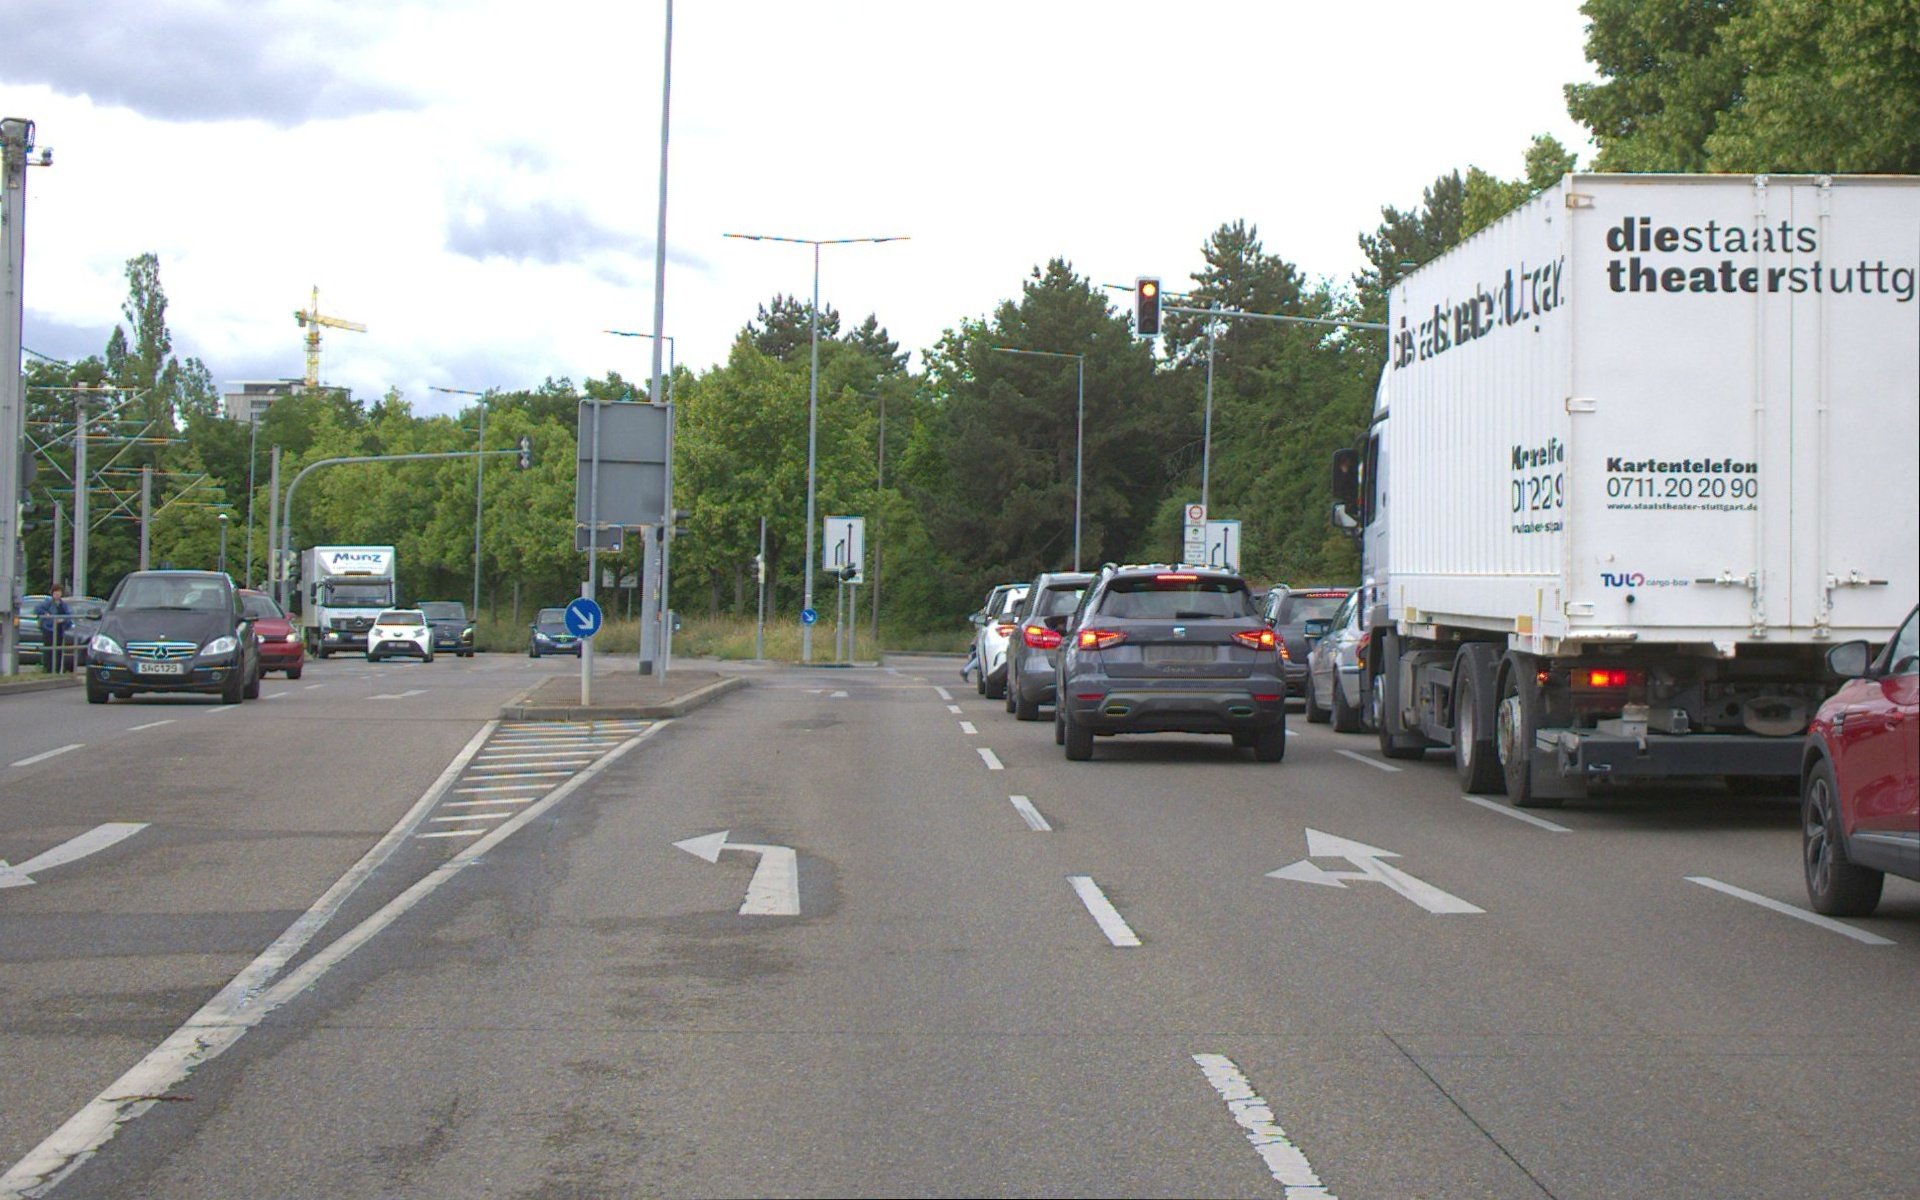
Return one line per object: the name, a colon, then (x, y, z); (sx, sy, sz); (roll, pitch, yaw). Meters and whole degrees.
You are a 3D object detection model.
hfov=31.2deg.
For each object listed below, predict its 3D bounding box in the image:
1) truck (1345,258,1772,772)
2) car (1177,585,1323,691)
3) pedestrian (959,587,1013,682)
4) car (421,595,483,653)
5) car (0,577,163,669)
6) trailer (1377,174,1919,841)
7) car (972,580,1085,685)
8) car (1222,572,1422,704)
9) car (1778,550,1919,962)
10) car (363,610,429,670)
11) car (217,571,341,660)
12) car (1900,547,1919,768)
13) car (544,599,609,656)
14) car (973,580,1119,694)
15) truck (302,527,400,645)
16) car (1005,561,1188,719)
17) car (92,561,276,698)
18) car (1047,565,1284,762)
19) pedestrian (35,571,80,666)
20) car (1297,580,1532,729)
truck: (4.538, -0.643, 26.801); (2.571, 3.693, 4.106); (0, 1, 0)
car: (3.968, 0.514, 47.524); (1.545, 1.399, 4.000); (0, 0, -2)
pedestrian: (0.426, 0.571, 56.961); (0.864, 1.555, 0.518); (0, 3, -3)
car: (-17.012, 0.788, 115.181); (1.915, 1.722, 4.002); (0, 3, -6)
car: (-17.335, 0.419, 64.897); (3.988, 1.590, 2.000); (1, 3, 8)
trailer: (4.580, -0.594, 22.975); (2.566, 3.693, 7.764); (0, 1, 0)
car: (0.981, 0.472, 50.291); (1.535, 1.499, 2.670); (0, 0, -1)
car: (4.107, 0.416, 39.629); (1.825, 1.430, 4.213); (0, 0, 0)
car: (4.409, 0.573, 13.052); (1.707, 1.519, 4.319); (0, 1, 2)
car: (-15.960, 1.110, 97.320); (1.775, 1.503, 3.748); (1, 2, -9)
car: (-11.737, 0.250, 59.415); (1.702, 1.483, 4.087); (0, 0, -5)
car: (7.680, 0.469, 23.415); (1.570, 1.565, 3.060); (2, 1, -2)
car: (-12.191, 0.866, 109.160); (1.915, 1.570, 4.002); (0, 3, -8)
car: (1.085, 0.469, 45.137); (1.721, 1.417, 4.357); (0, 0, -1)
truck: (-19.982, -0.504, 112.427); (2.659, 3.636, 9.505); (1, 0, -13)
car: (1.383, 0.373, 36.217); (1.799, 1.518, 4.187); (0, 1, 1)
car: (-9.273, 0.342, 41.301); (1.725, 1.568, 3.707); (0, 0, -6)
car: (1.600, 0.473, 27.920); (1.698, 1.481, 4.000); (0, 0, 0)
pedestrian: (-15.037, 0.301, 57.266); (0.353, 1.551, 0.652); (2, 3, 33)
car: (4.342, 0.486, 33.382); (1.812, 1.349, 4.118); (0, 0, 1)
